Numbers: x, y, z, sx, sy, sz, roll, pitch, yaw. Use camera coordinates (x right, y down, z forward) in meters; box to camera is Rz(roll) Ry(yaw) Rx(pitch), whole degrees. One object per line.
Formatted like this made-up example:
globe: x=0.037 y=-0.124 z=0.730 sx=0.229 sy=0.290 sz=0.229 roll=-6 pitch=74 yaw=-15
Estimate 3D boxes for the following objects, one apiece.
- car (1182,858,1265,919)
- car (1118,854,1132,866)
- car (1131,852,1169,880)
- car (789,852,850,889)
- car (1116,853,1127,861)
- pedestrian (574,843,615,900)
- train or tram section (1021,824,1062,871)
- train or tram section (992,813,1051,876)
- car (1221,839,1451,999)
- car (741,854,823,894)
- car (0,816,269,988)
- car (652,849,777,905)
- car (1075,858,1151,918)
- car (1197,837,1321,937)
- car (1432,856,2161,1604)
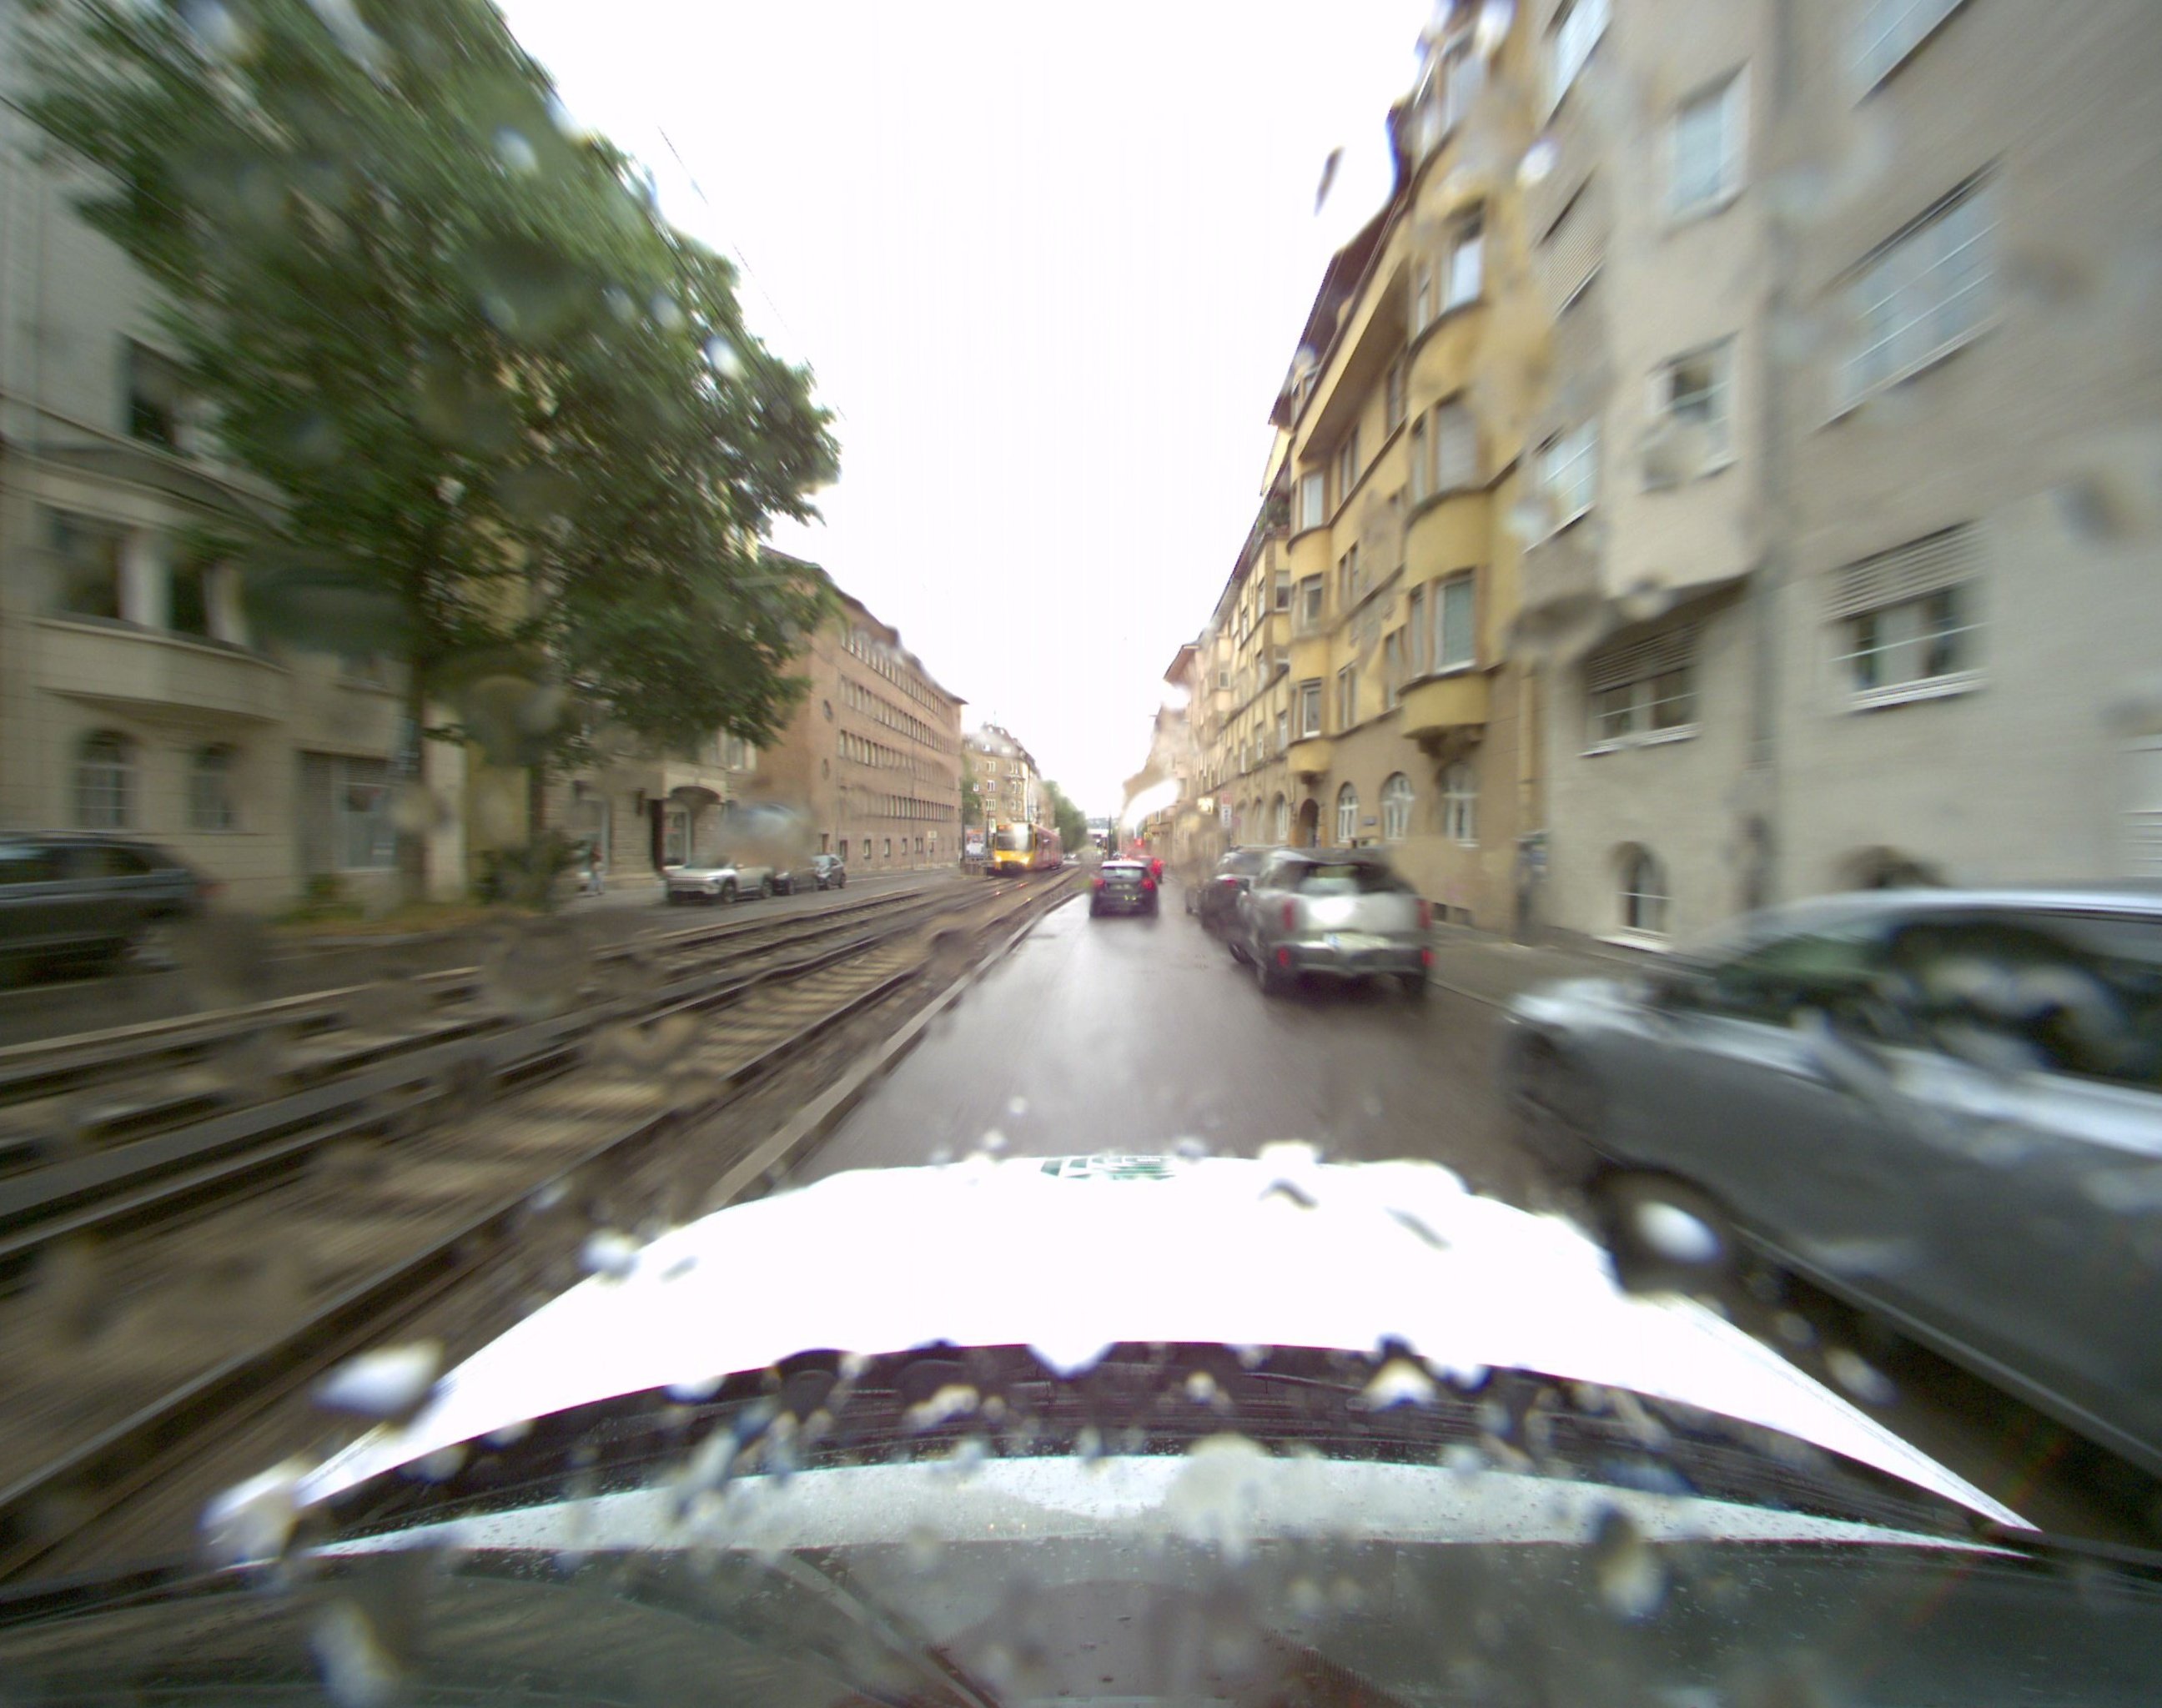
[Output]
car: x=3.653 y=0.847 z=21.319 sx=1.586 sy=1.440 sz=3.309 roll=1 pitch=-1 yaw=0
car: x=5.939 y=0.808 z=109.571 sx=1.879 sy=1.525 sz=4.250 roll=1 pitch=0 yaw=4
car: x=3.896 y=0.670 z=46.819 sx=1.986 sy=1.525 sz=4.247 roll=1 pitch=0 yaw=2
car: x=-11.117 y=0.678 z=34.792 sx=1.566 sy=1.467 sz=3.045 roll=1 pitch=0 yaw=1
car: x=8.049 y=0.600 z=160.467 sx=2.126 sy=1.525 sz=4.247 roll=1 pitch=0 yaw=2
pedestrian: x=-14.475 y=0.508 z=24.252 sx=0.725 sy=1.663 sz=0.771 roll=0 pitch=0 yaw=1
train or tram section: x=-3.586 y=-0.547 z=77.808 sx=2.735 sy=4.061 sz=15.665 roll=0 pitch=0 yaw=1
train or tram section: x=-4.204 y=-0.612 z=61.524 sx=2.735 sy=4.061 sz=17.218 roll=0 pitch=0 yaw=1
car: x=2.988 y=0.694 z=10.653 sx=1.833 sy=1.608 sz=4.765 roll=-1 pitch=-1 yaw=4
car: x=-11.300 y=0.719 z=31.029 sx=1.660 sy=1.415 sz=3.689 roll=1 pitch=0 yaw=2
car: x=-12.119 y=0.465 z=8.707 sx=1.946 sy=1.742 sz=4.779 roll=3 pitch=0 yaw=1
car: x=-11.519 y=0.655 z=25.973 sx=1.954 sy=1.605 sz=4.329 roll=1 pitch=0 yaw=1
car: x=0.846 y=0.832 z=21.689 sx=1.827 sy=1.453 sz=3.904 roll=0 pitch=0 yaw=2
car: x=3.473 y=0.612 z=16.705 sx=1.771 sy=1.750 sz=4.551 roll=0 pitch=-1 yaw=3
car: x=3.032 y=0.747 z=2.722 sx=1.826 sy=1.468 sz=4.374 roll=0 pitch=-1 yaw=0
